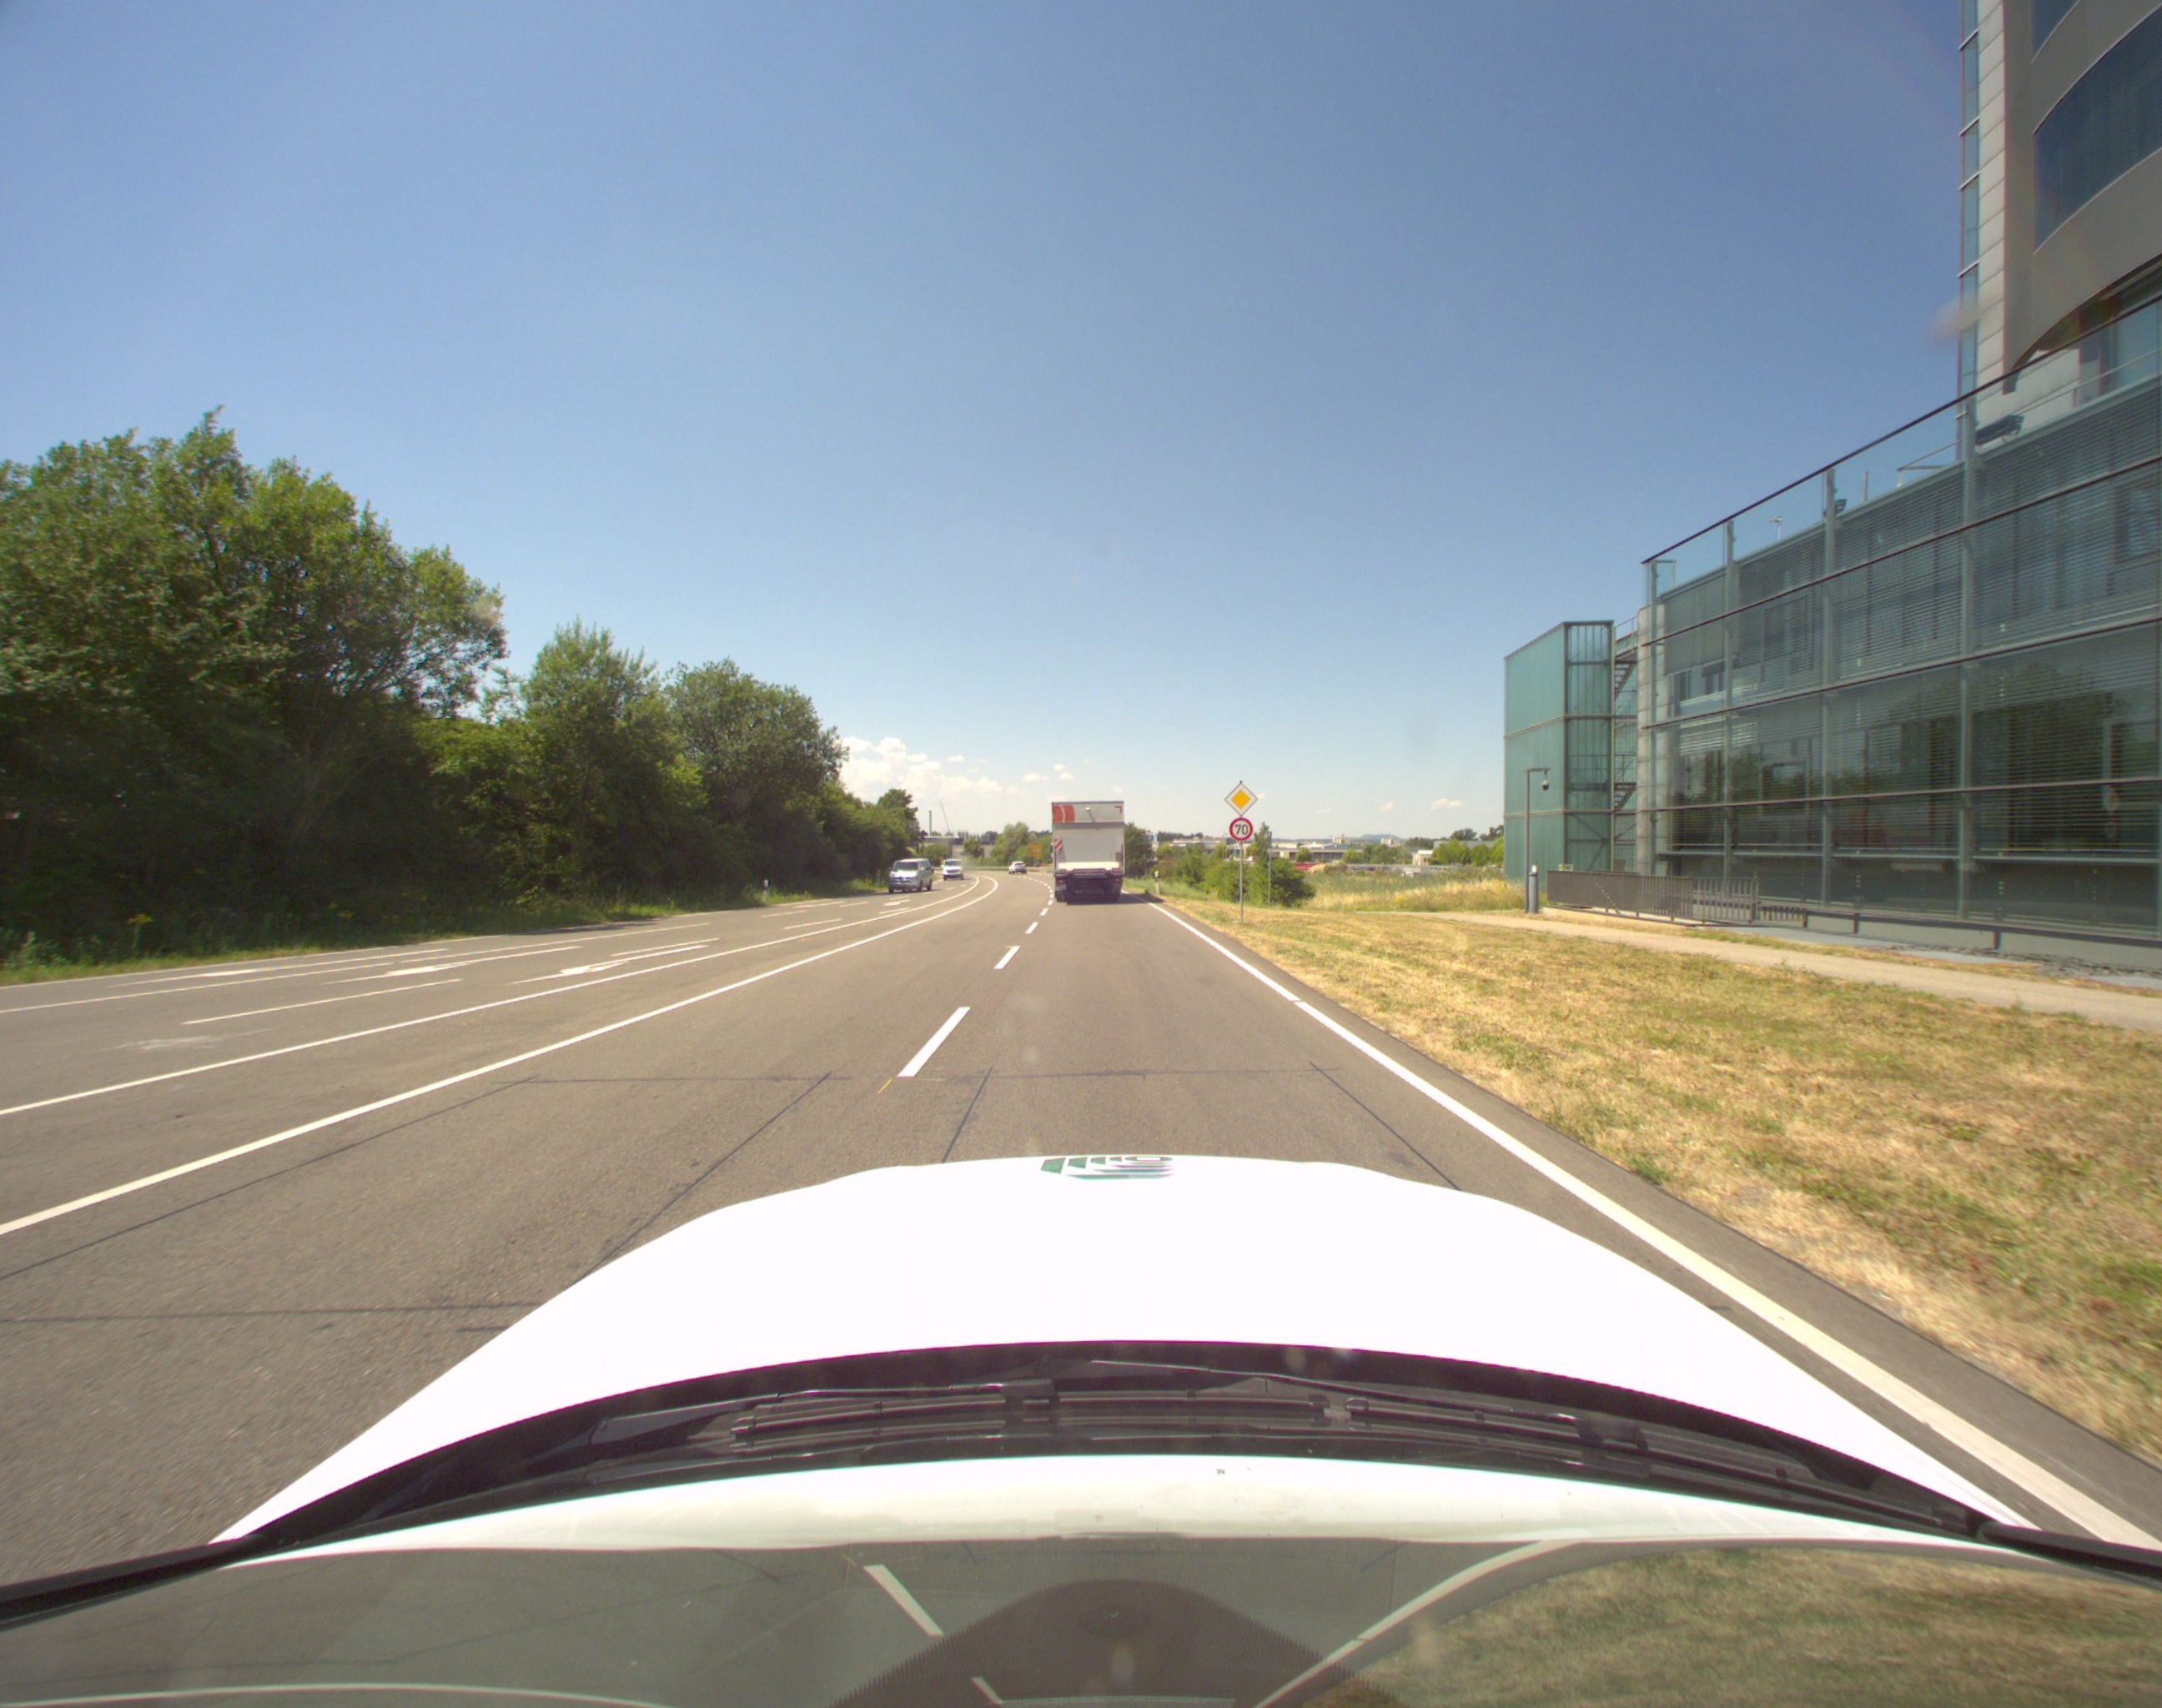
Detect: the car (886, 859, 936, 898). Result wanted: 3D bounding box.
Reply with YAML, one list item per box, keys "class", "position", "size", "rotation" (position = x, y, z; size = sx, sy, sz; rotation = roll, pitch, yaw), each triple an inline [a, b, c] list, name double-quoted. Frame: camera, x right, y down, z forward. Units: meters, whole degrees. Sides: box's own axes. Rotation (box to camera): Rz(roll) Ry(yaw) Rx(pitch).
- class: "car"
  position: [-9.922, 1.370, 47.760]
  size: [1.968, 2.013, 4.838]
  rotation: [1, 1, -1]

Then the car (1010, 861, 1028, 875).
- class: "car"
  position: [-7.693, 1.707, 100.730]
  size: [1.943, 1.664, 3.986]
  rotation: [1, -2, -9]

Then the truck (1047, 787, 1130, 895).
- class: "truck"
  position: [0.406, -0.464, 32.810]
  size: [2.793, 3.711, 9.112]
  rotation: [-1, 0, 2]

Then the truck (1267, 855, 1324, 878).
- class: "truck"
  position: [37.922, 2.151, 144.215]
  size: [9.300, 3.684, 3.150]
  rotation: [1, 1, 28]

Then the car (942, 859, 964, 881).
- class: "car"
  position: [-12.261, 1.473, 78.233]
  size: [2.075, 2.013, 5.790]
  rotation: [-1, 0, -8]
